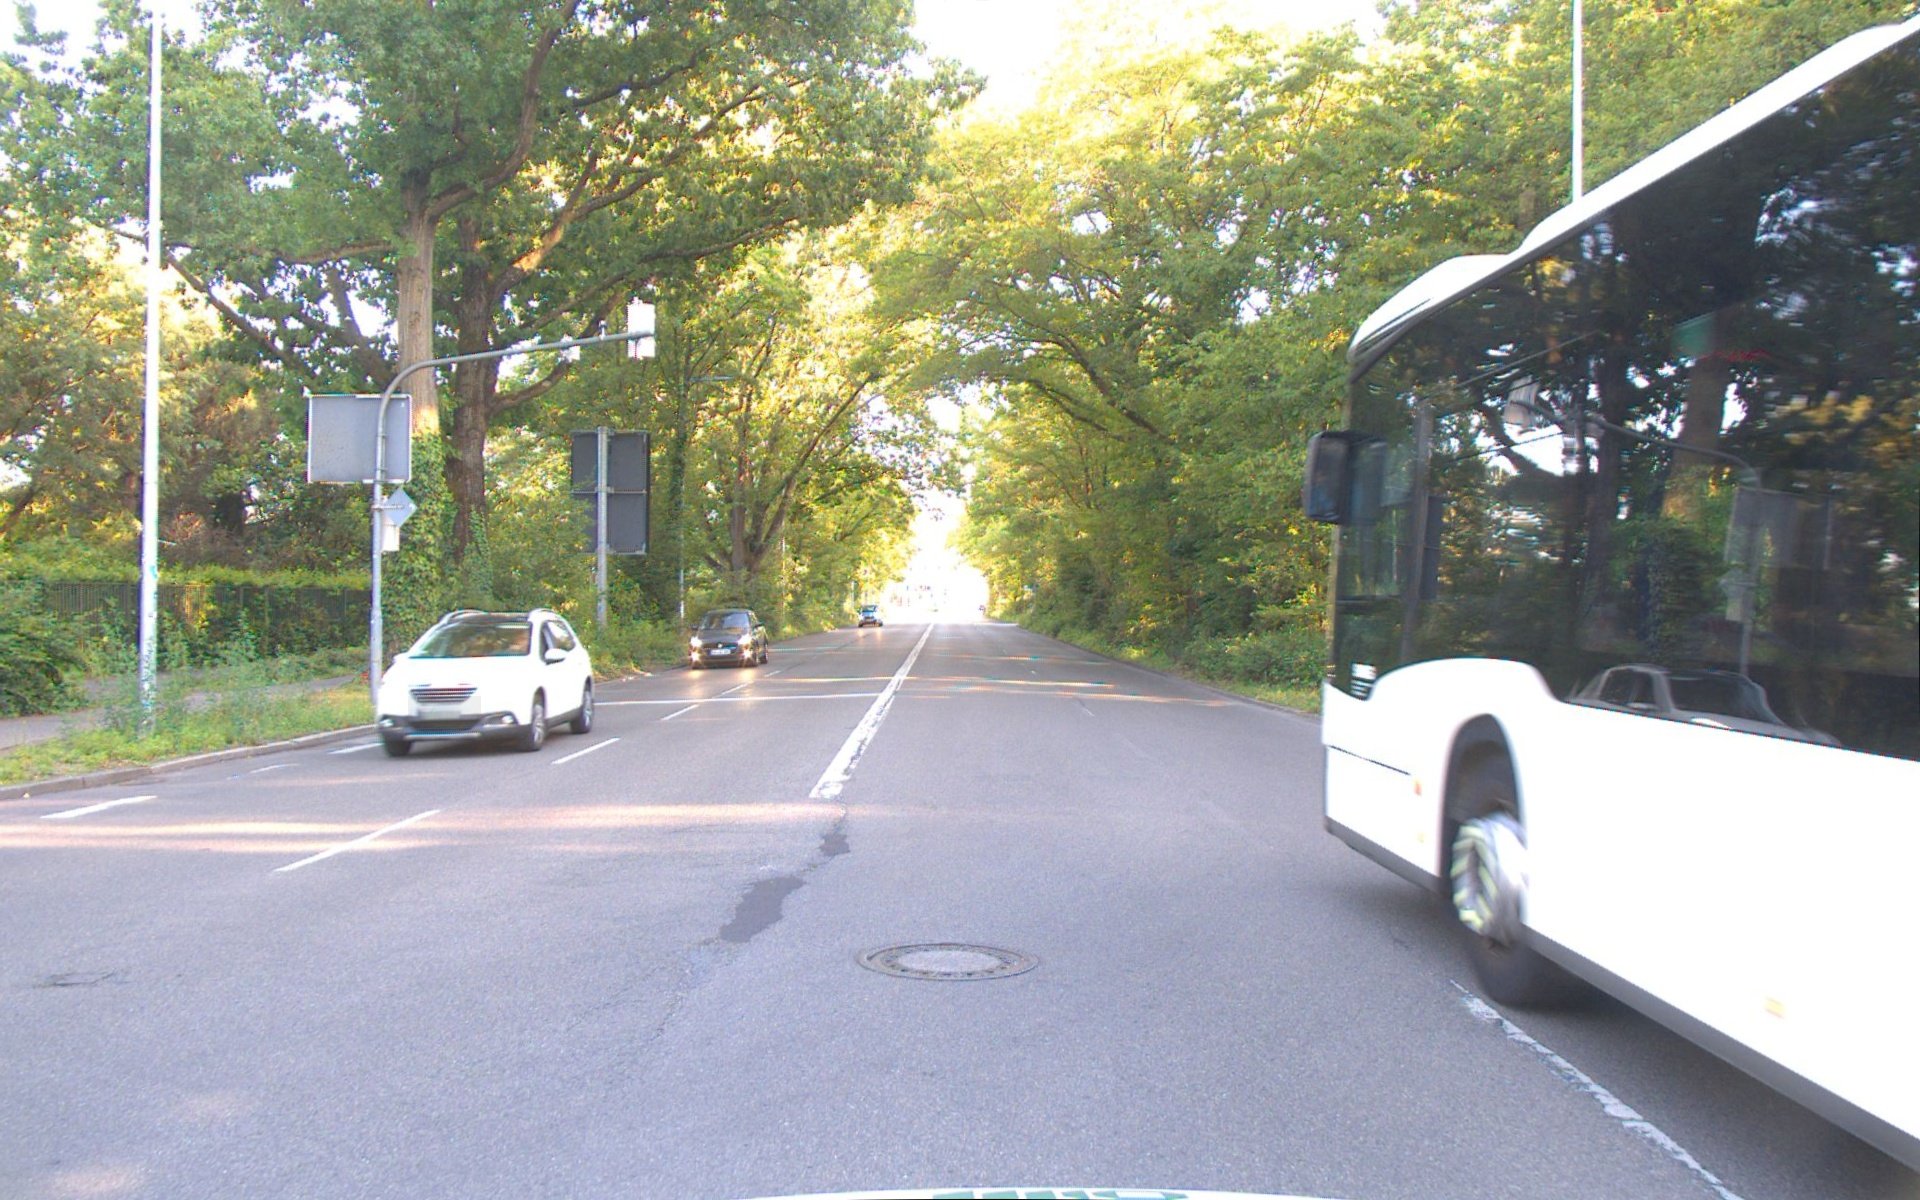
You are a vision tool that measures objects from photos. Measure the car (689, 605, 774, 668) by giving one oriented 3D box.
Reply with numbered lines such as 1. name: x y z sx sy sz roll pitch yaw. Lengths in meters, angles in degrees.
1. car: -5.859 0.907 42.775 1.673 1.478 3.639 -2 0 -1

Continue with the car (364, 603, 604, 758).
1. car: -5.374 0.841 19.175 1.643 1.550 3.901 -2 0 -1

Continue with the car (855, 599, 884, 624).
1. car: -6.180 0.767 113.429 1.770 1.607 4.318 -2 0 -1

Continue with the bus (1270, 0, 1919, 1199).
1. bus: 3.428 -0.189 3.524 2.951 3.141 12.267 3 0 -1
